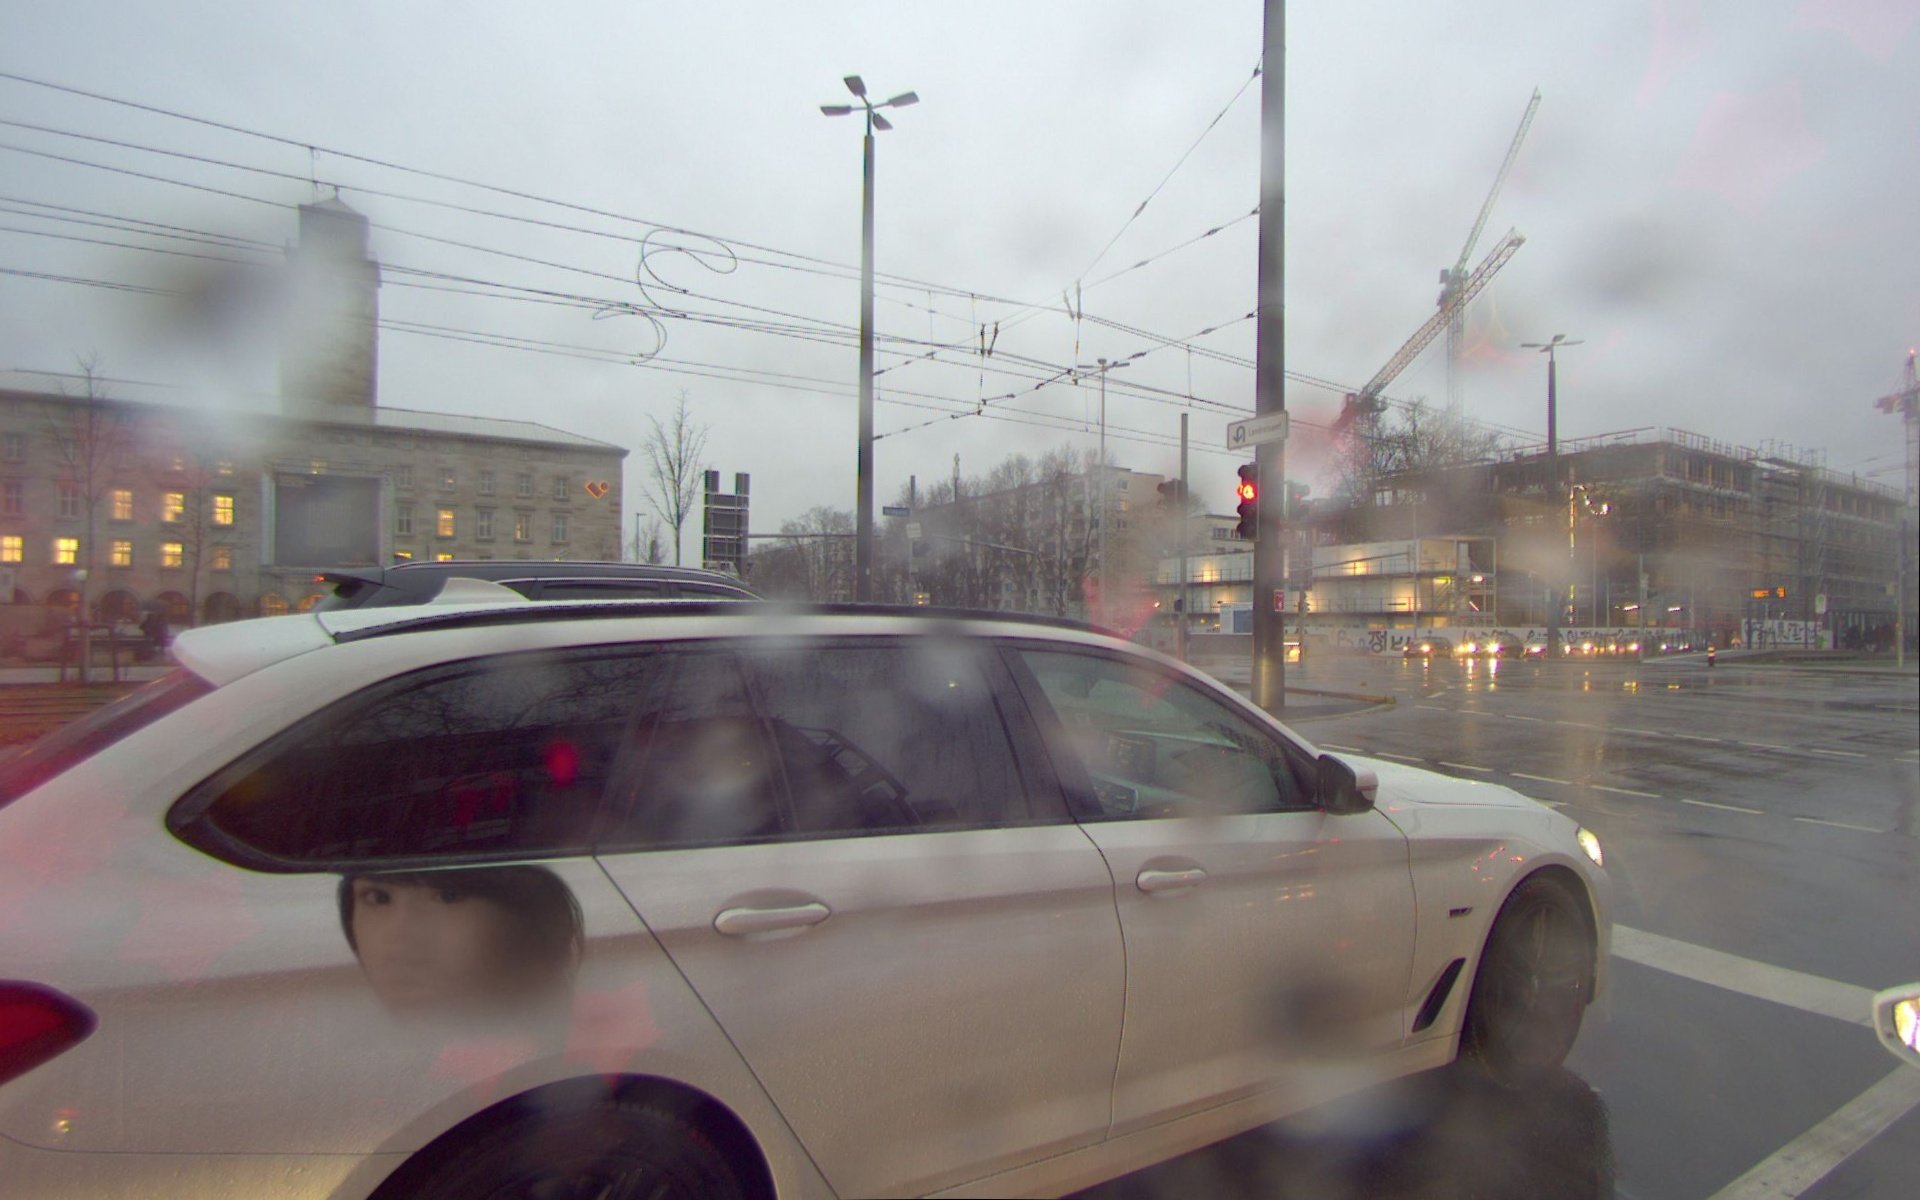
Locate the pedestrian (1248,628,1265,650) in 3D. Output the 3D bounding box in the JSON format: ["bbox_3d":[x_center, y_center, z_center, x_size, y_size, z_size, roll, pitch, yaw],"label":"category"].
[{"bbox_3d":[19.485,2.573,65.984,0.715,1.407,0.725,2,0,-28],"label":"pedestrian"}]

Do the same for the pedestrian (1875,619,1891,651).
[{"bbox_3d":[57.932,2.189,63.041,0.659,1.994,0.566,2,1,-36],"label":"pedestrian"}]

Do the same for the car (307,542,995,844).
[{"bbox_3d":[-2.063,0.567,7.234,4.238,1.605,1.958,2,-1,-29],"label":"car"}]

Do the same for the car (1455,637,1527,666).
[{"bbox_3d":[31.271,3.023,59.124,3.953,1.679,1.984,2,-2,-30],"label":"car"}]

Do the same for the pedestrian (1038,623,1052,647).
[{"bbox_3d":[7.343,3.031,86.928,0.809,1.959,0.916,2,0,-36],"label":"pedestrian"}]

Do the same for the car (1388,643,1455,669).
[{"bbox_3d":[29.255,3.554,63.605,3.953,1.550,1.984,2,-2,-30],"label":"car"}]

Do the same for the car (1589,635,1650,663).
[{"bbox_3d":[45.962,3.393,69.984,3.953,1.814,1.984,2,0,-30],"label":"car"}]

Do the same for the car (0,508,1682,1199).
[{"bbox_3d":[0.013,0.707,3.101,4.508,1.506,2.007,2,-2,-31],"label":"car"}]

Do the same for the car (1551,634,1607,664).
[{"bbox_3d":[41.101,3.223,66.679,3.963,1.852,1.852,2,0,-37],"label":"car"}]

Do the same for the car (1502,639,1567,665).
[{"bbox_3d":[35.887,3.241,62.717,4.577,1.550,2.059,2,-2,-40],"label":"car"}]

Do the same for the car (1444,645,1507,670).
[{"bbox_3d":[34.668,3.845,67.503,3.953,1.550,1.984,2,-2,-30],"label":"car"}]

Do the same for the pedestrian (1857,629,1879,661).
[{"bbox_3d":[56.631,2.793,62.664,0.754,1.922,0.761,3,-1,-30],"label":"pedestrian"}]

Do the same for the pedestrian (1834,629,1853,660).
[{"bbox_3d":[54.390,2.739,61.835,0.547,1.906,0.695,2,0,-30],"label":"pedestrian"}]

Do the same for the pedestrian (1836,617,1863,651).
[{"bbox_3d":[55.402,2.118,62.581,1.081,2.040,0.938,2,0,-29],"label":"pedestrian"}]

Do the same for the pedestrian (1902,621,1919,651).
[{"bbox_3d":[66.151,2.478,69.714,1.084,2.040,0.934,2,0,-39],"label":"pedestrian"}]

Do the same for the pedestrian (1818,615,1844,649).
[{"bbox_3d":[53.391,1.988,61.572,1.082,2.040,0.937,2,0,-32],"label":"pedestrian"}]

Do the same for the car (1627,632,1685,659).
[{"bbox_3d":[50.568,3.287,72.991,3.953,1.814,1.984,2,0,-30],"label":"car"}]

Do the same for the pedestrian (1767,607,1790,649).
[{"bbox_3d":[47.251,1.621,57.961,0.754,2.354,0.761,3,-1,-30],"label":"pedestrian"}]
